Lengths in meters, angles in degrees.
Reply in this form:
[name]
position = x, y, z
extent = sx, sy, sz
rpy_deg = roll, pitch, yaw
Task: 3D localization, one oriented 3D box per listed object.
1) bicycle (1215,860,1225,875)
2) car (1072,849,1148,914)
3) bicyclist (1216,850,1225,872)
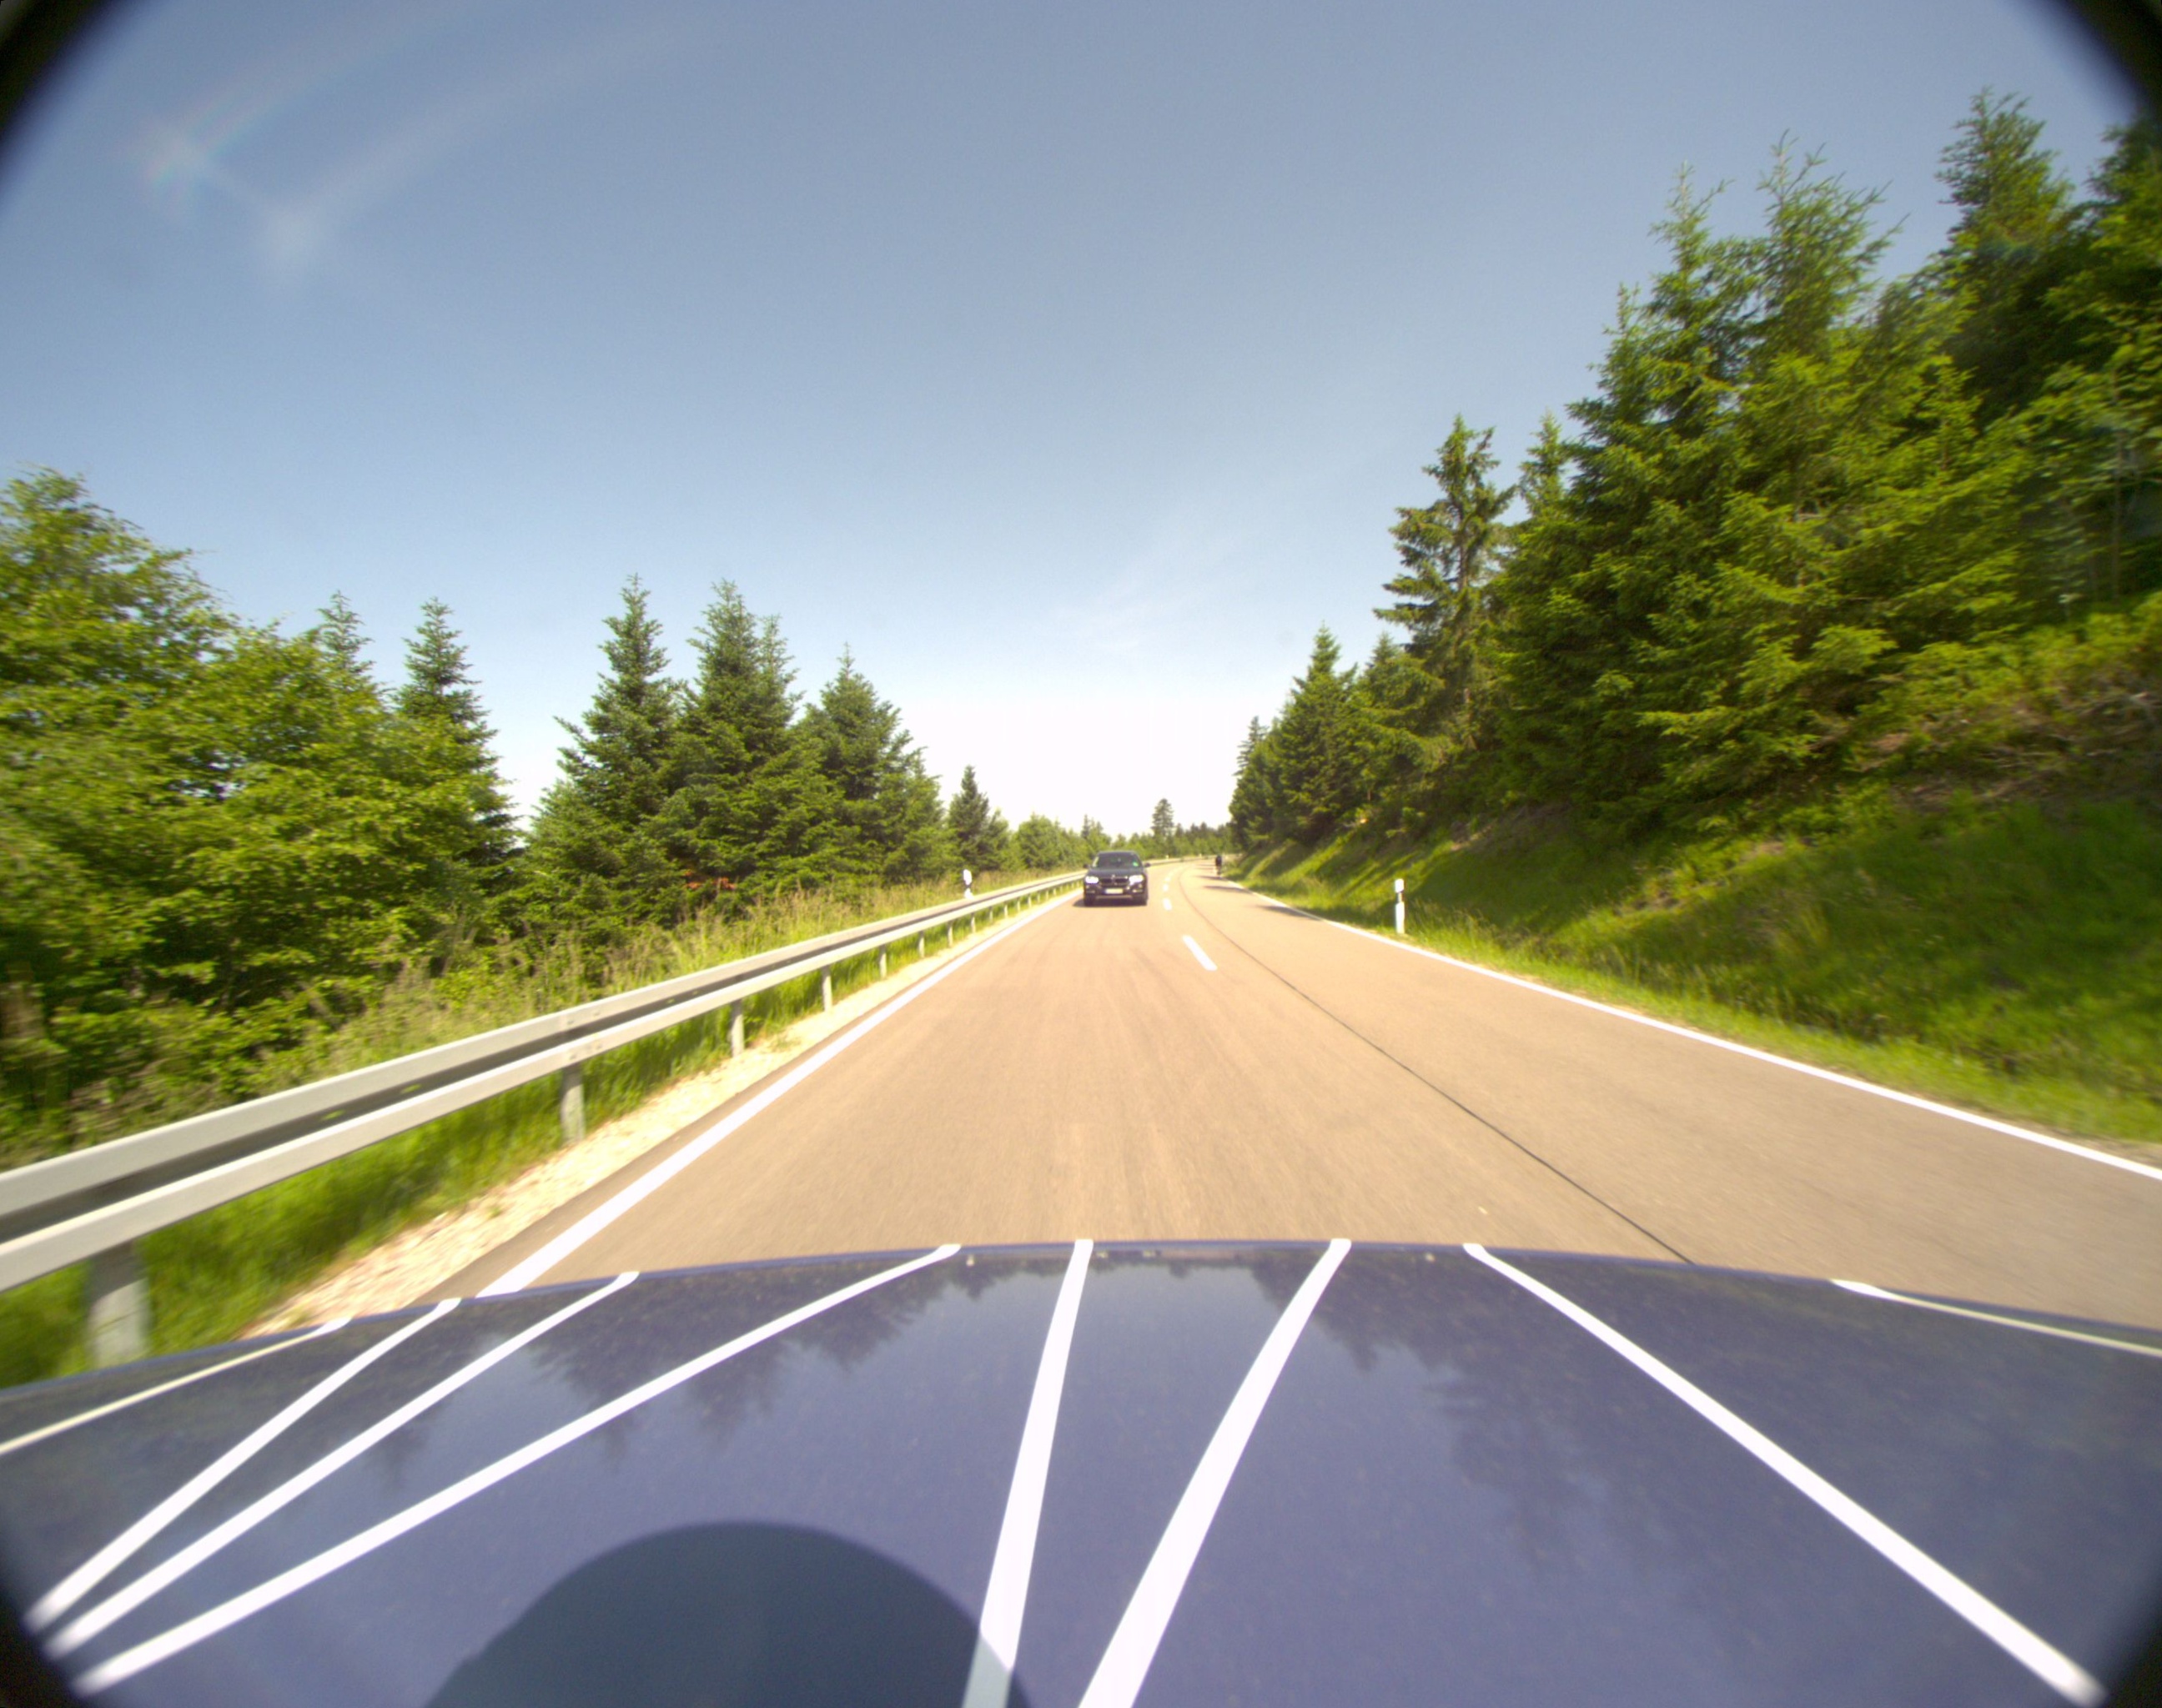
[bicycle]
position = 9.075, 0.874, 49.612
extent = 0.554, 0.881, 2.063
rpy_deg = 0, 0, 7
[car]
position = 1.044, 0.734, 23.454
extent = 1.998, 1.677, 5.938
rpy_deg = -2, 0, 5
[bicyclist]
position = 9.113, 0.463, 49.662
extent = 0.543, 1.442, 0.984
rpy_deg = 0, 1, 7
